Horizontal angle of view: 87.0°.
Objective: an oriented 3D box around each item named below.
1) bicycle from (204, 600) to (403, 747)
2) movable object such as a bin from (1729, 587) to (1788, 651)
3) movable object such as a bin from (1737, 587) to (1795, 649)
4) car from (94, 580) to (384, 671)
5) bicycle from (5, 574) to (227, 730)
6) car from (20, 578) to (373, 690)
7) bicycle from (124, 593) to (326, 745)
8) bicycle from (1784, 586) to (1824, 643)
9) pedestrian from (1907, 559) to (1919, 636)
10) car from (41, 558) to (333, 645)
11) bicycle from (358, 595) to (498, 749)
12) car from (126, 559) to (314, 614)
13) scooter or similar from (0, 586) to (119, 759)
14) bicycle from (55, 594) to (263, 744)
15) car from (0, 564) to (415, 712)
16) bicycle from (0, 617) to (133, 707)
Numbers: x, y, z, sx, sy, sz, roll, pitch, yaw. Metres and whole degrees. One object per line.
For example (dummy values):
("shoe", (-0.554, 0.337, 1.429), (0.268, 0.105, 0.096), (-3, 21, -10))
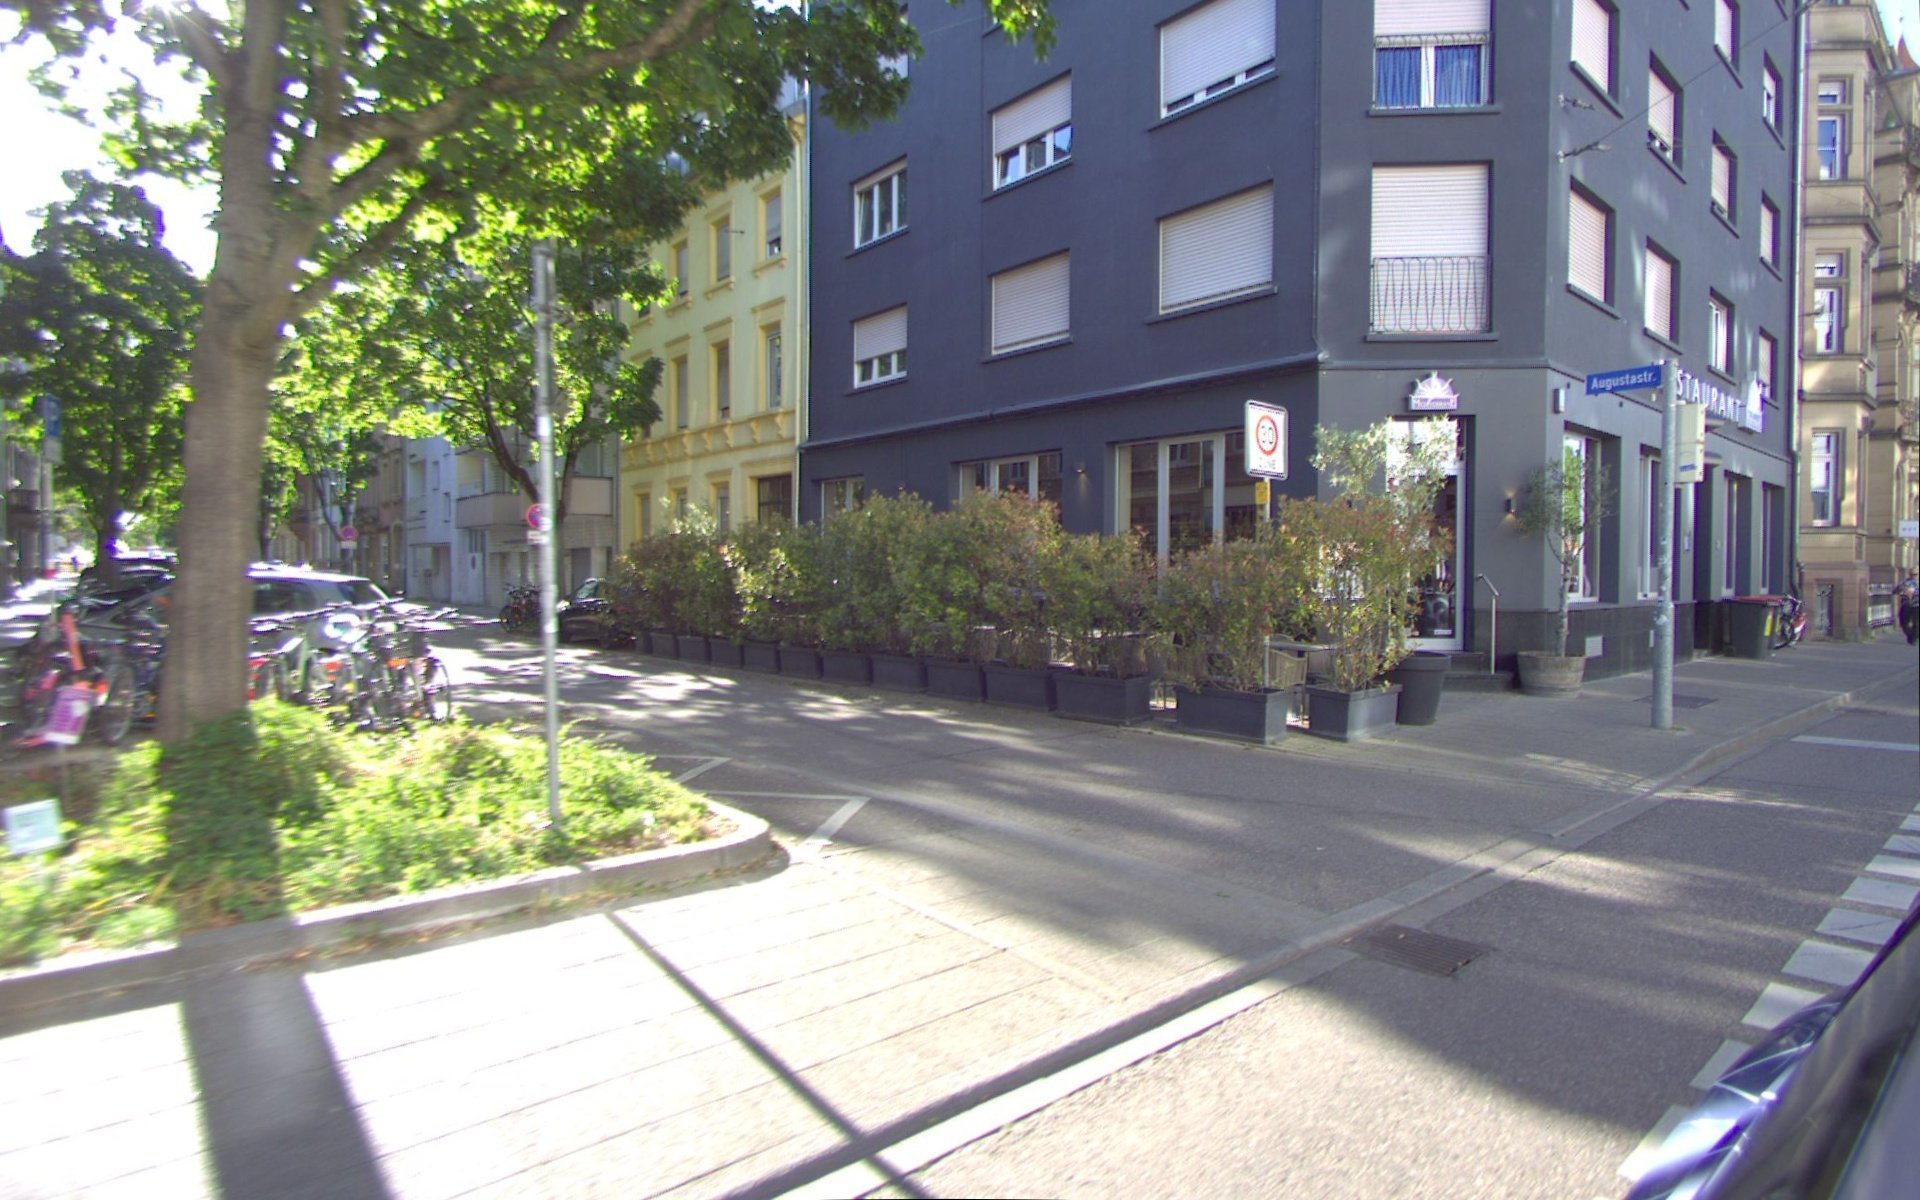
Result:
("bicycle", (-5.609, 0.573, 8.799), (0.527, 1.057, 1.909), (0, 2, -2))
("movable object such as a bin", (14.125, 0.325, 17.896), (0.626, 1.082, 0.716), (-1, 2, -42))
("movable object such as a bin", (14.615, 0.307, 18.359), (0.626, 1.082, 0.716), (-1, 2, -41))
("car", (-11.852, 0.371, 16.894), (3.581, 1.378, 1.650), (-1, 1, -15))
("bicycle", (-7.907, 0.417, 9.626), (0.568, 1.281, 2.063), (0, 2, -7))
("car", (-10.530, 0.412, 14.249), (3.581, 1.378, 1.650), (-1, 2, -15))
("bicycle", (-6.240, 0.525, 8.728), (0.526, 1.094, 1.911), (0, 2, -7))
("bicycle", (16.906, 0.271, 20.264), (1.486, 1.071, 0.377), (-2, 2, -41))
("pedestrian", (21.784, -0.066, 22.704), (0.676, 1.711, 0.695), (-1, 2, -41))
("car", (-15.957, -0.021, 21.149), (4.538, 1.692, 1.650), (-1, 2, -15))
("bicycle", (-4.637, 0.563, 8.954), (0.526, 1.162, 1.911), (0, 2, -10))
("car", (-23.501, -0.461, 32.299), (4.538, 1.693, 1.650), (-1, 2, -15))
("scooter or similar", (-7.057, 0.505, 7.695), (0.416, 1.197, 1.214), (0, 2, -7))
("bicycle", (-6.725, 0.517, 8.625), (0.433, 1.057, 1.911), (0, 2, -7))
("car", (-8.665, 0.365, 11.979), (3.581, 1.549, 1.650), (-1, 2, -15))
("bicycle", (-9.370, 0.613, 10.374), (1.733, 0.810, 0.534), (1, 2, 19))
